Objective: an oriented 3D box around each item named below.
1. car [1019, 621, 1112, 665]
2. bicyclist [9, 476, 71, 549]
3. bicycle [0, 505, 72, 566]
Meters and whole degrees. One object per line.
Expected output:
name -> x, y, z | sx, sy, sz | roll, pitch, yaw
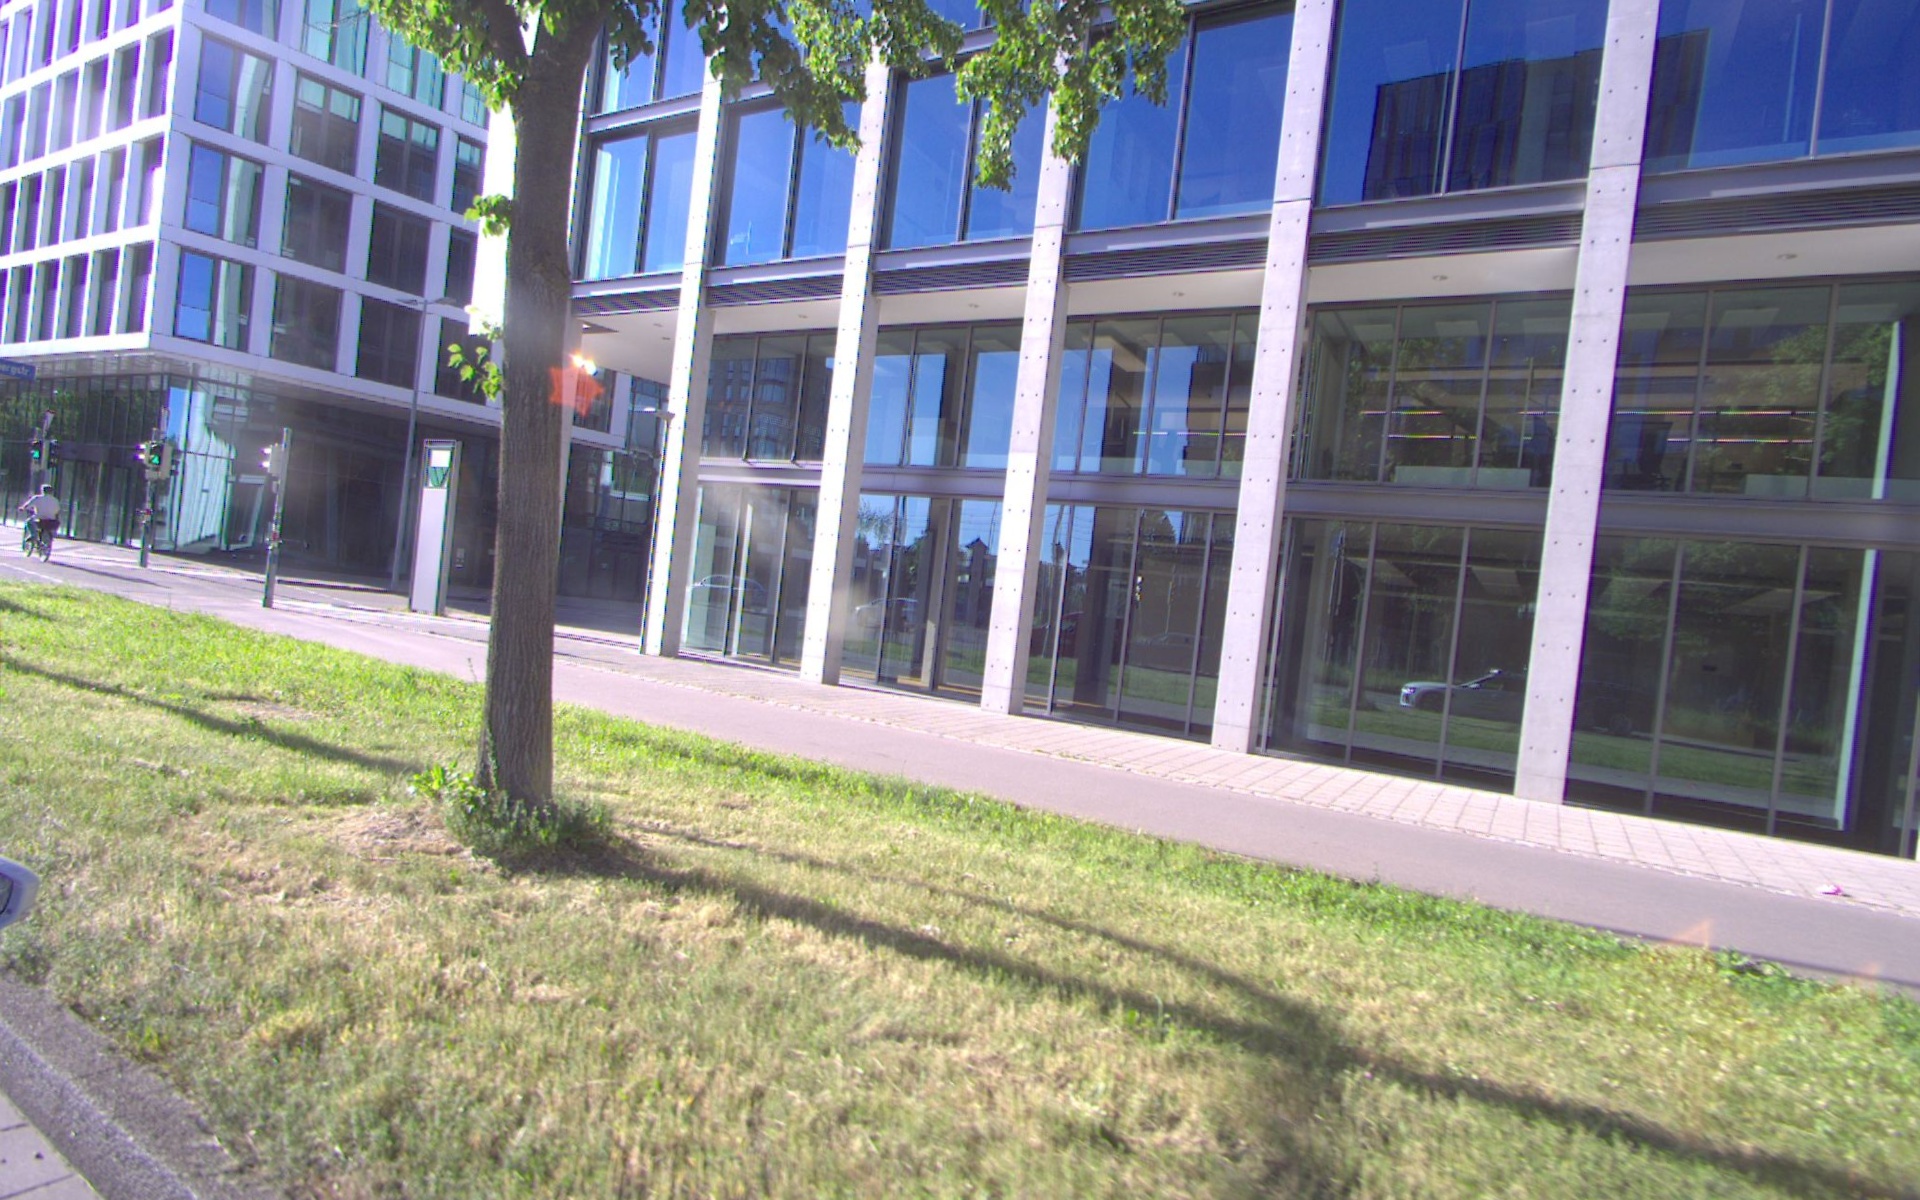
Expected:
car -> 4.771, 1.942, 45.829 | 3.947, 1.523, 1.651 | 6, 0, 43
bicyclist -> -21.243, -2.020, 23.232 | 0.835, 1.550, 0.772 | 7, 1, 31
bicycle -> -21.499, -1.500, 23.336 | 1.928, 1.188, 0.742 | 7, 0, 31
